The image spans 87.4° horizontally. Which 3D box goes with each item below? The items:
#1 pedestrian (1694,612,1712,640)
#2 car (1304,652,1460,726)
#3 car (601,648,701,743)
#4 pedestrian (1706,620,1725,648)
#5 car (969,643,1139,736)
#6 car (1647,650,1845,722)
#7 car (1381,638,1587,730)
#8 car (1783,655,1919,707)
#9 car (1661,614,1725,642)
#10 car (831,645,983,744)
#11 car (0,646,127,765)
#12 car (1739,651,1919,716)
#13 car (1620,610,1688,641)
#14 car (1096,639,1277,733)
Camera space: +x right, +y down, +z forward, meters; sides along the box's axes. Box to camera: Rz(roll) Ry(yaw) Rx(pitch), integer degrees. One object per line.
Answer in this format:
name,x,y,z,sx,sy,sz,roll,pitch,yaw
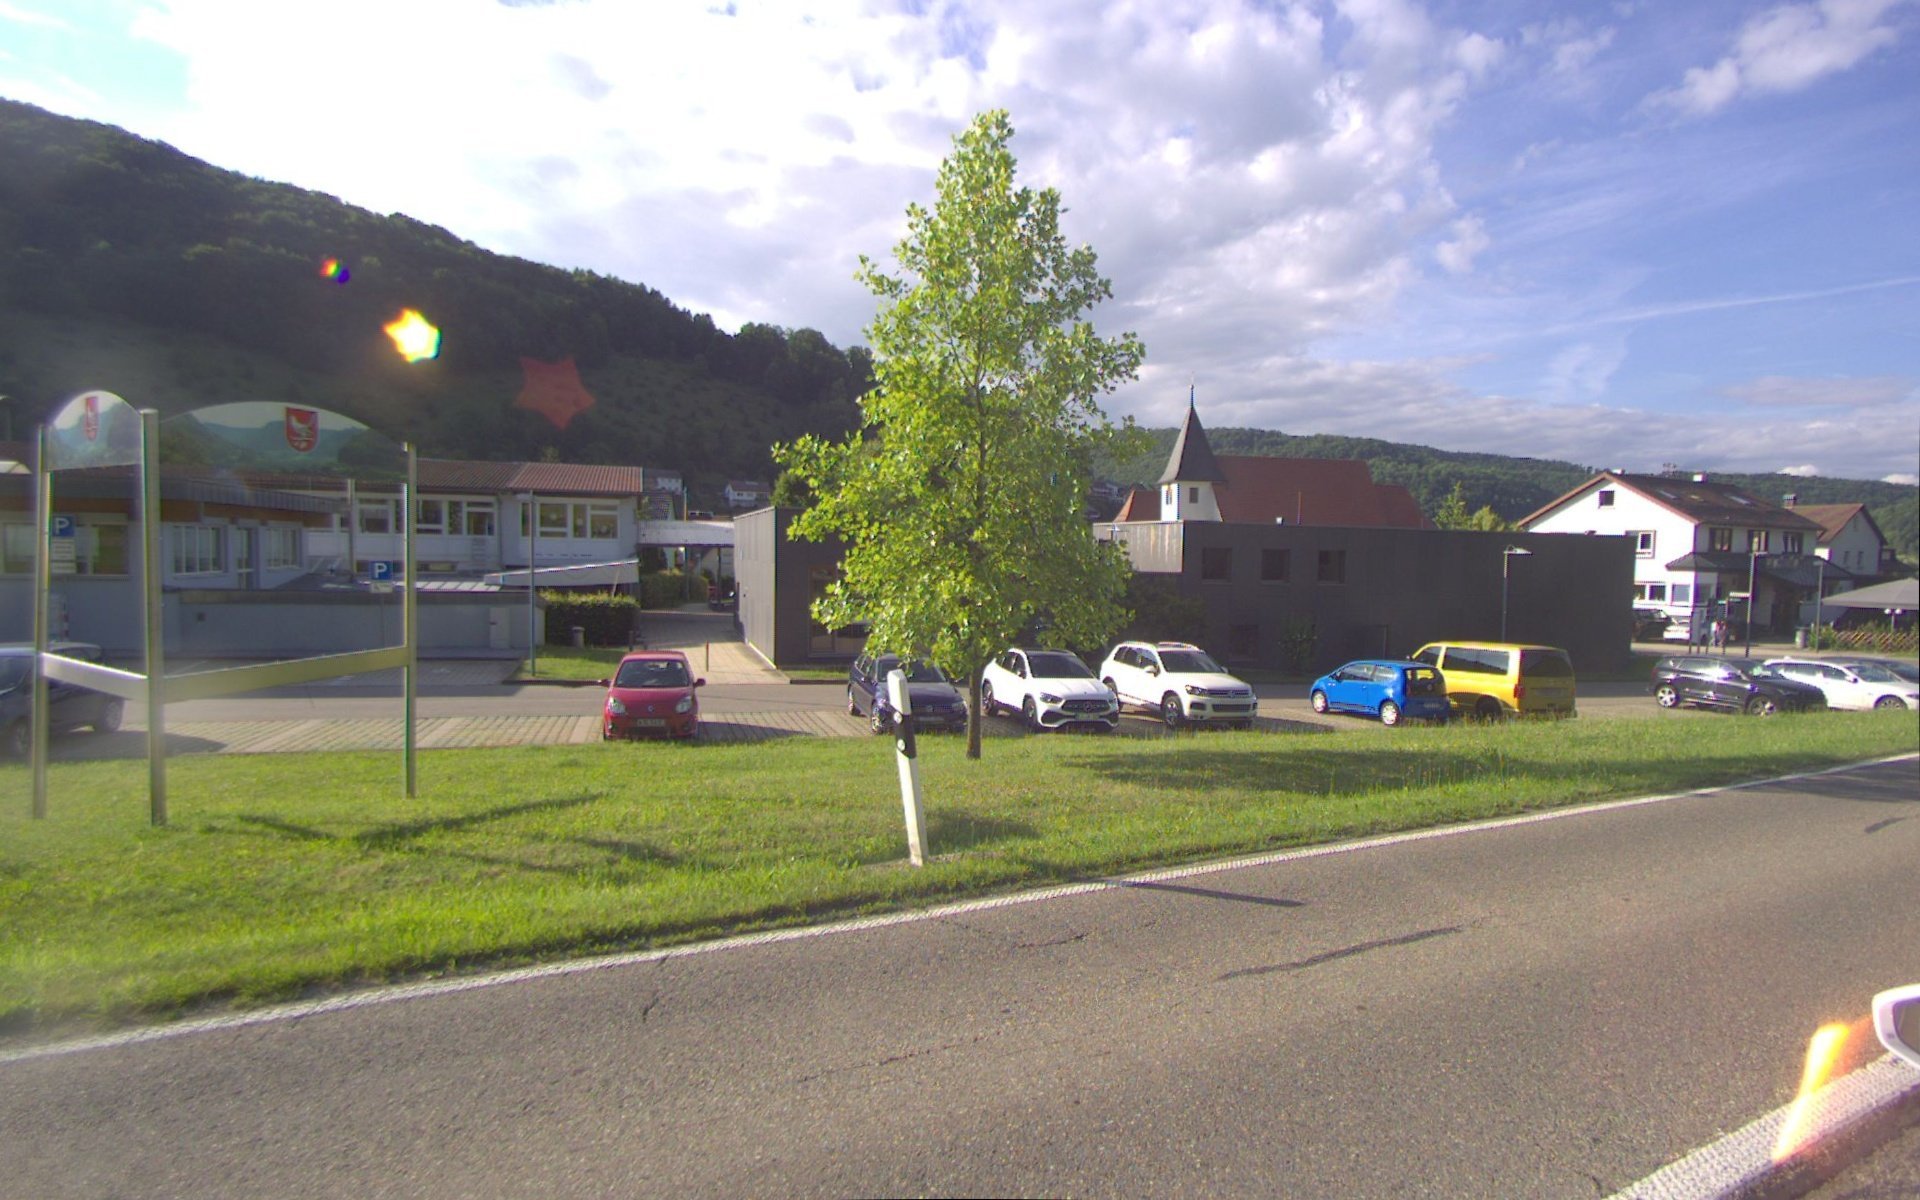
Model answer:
pedestrian,41.355,1.471,55.914,0.583,1.523,0.605,2,0,-31
car,10.385,2.152,24.972,1.609,1.492,3.487,2,0,-21
car,-5.869,1.722,18.969,1.591,1.416,3.717,2,0,-19
pedestrian,41.606,1.877,55.331,0.583,1.523,0.605,2,0,-31
car,1.891,1.850,21.849,1.969,1.575,4.534,2,0,-19
car,22.311,2.395,28.706,1.969,1.659,4.021,2,0,-19
car,12.972,2.020,25.251,1.967,1.893,4.610,2,0,-15
car,28.615,2.511,31.491,1.736,1.327,3.978,2,0,-23
car,41.914,1.582,57.438,3.955,1.469,1.547,2,0,-32
car,-1.237,1.867,20.874,1.969,1.575,4.534,2,0,-19
car,-14.943,1.580,15.743,1.659,1.471,4.001,-1,1,-21
car,26.530,2.436,30.082,1.852,1.513,4.809,2,0,-19
car,40.774,1.483,59.009,3.955,1.684,1.877,2,0,-32
car,5.041,1.876,23.092,1.969,1.725,4.534,2,0,-19
